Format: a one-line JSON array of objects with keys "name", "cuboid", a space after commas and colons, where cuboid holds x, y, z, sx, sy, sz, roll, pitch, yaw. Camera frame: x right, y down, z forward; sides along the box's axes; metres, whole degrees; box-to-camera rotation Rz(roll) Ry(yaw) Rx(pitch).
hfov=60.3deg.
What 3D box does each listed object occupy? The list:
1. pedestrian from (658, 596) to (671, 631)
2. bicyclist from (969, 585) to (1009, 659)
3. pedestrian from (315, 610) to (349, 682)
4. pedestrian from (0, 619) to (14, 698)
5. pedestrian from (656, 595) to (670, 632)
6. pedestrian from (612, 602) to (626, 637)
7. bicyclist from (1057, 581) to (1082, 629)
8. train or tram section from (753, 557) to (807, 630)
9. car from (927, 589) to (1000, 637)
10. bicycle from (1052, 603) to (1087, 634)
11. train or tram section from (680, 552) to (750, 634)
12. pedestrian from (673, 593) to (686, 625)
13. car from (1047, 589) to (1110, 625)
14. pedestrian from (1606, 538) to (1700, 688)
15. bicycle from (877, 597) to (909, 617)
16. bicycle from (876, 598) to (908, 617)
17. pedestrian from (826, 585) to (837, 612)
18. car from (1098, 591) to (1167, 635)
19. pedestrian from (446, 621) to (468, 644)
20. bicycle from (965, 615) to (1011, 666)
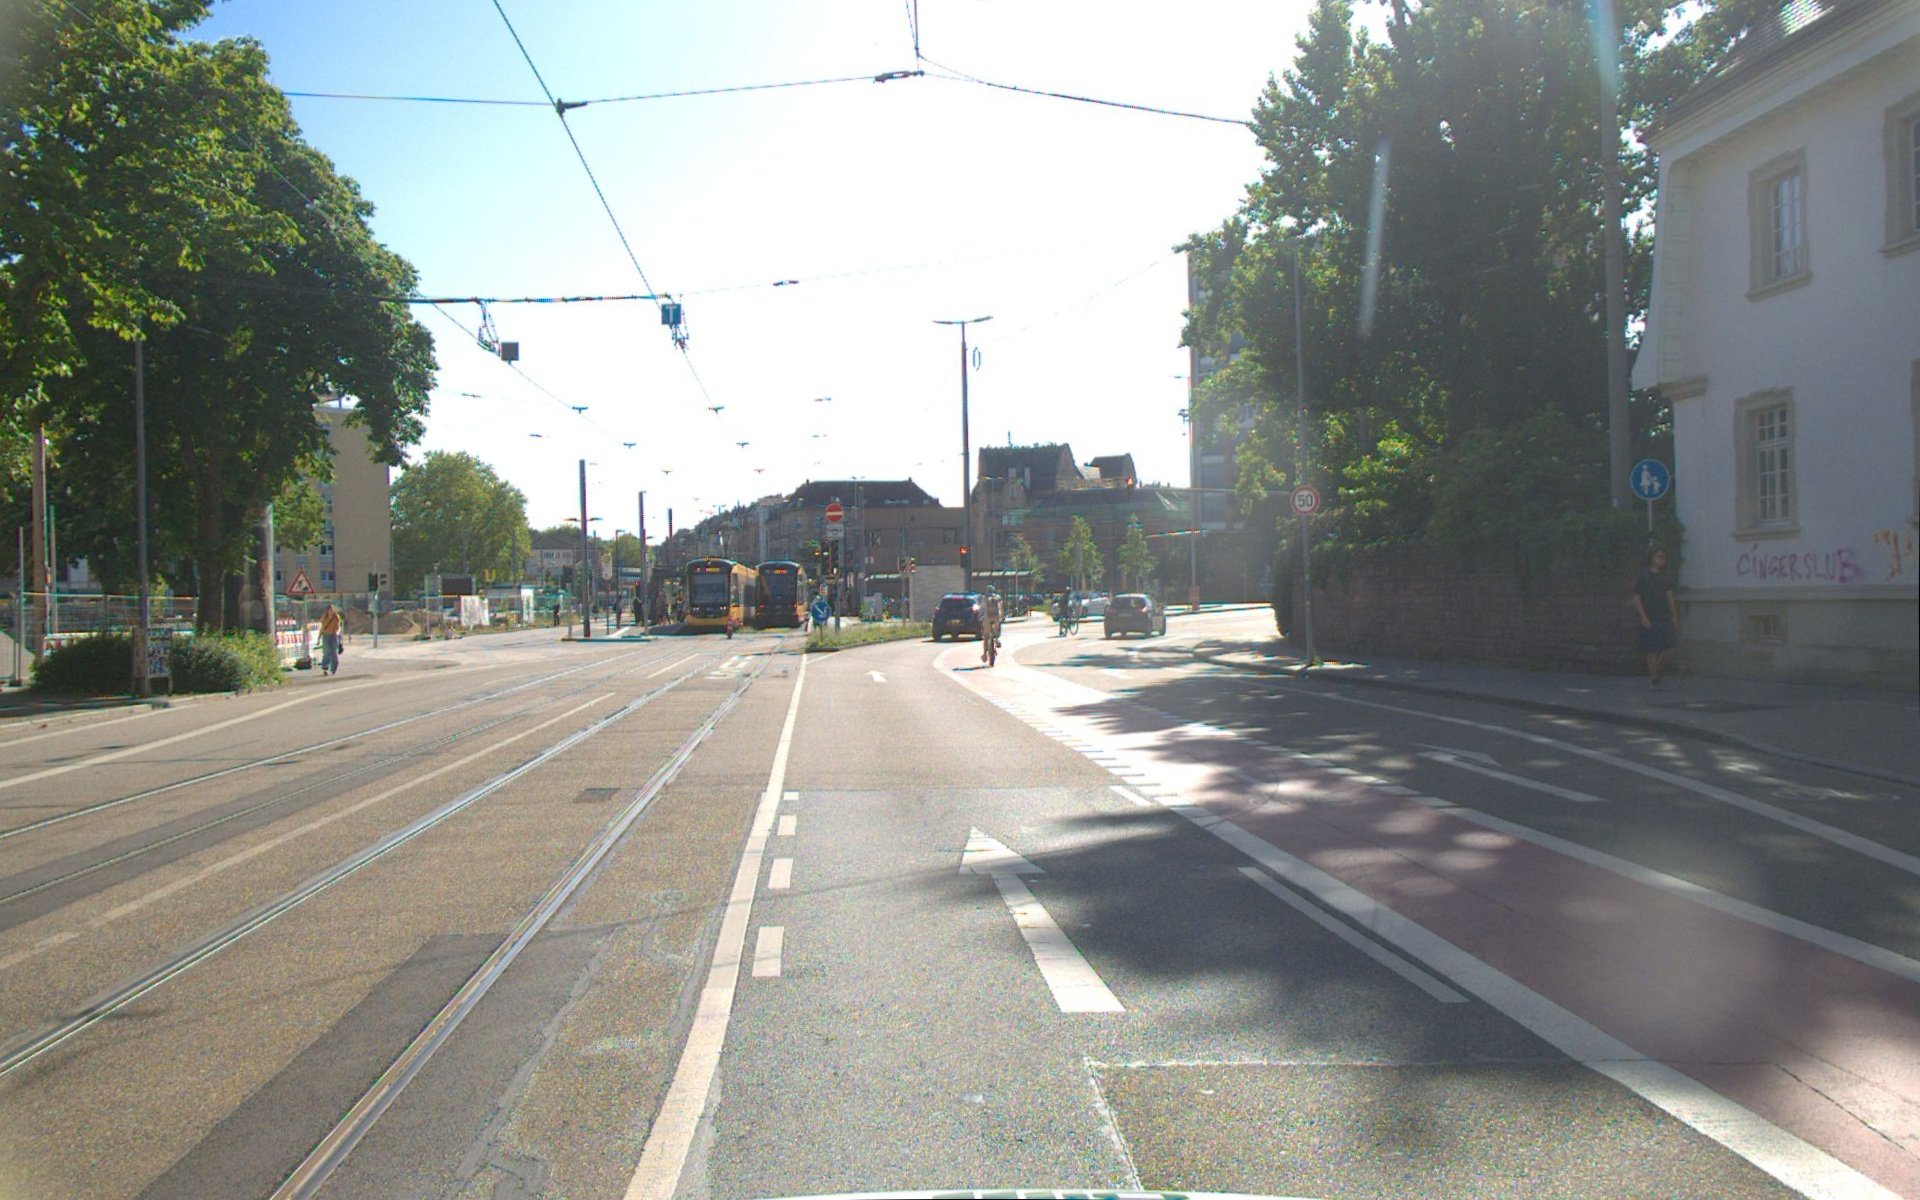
[{"name": "pedestrian", "cuboid": [-15.973, 0.744, 89.423, 0.614, 1.859, 0.661, -2, 0, -6]}, {"name": "bicyclist", "cuboid": [0.676, 0.497, 38.411, 0.690, 1.704, 1.102, 0, 0, 15]}, {"name": "pedestrian", "cuboid": [-15.616, 1.138, 41.128, 0.625, 1.726, 0.816, -3, 0, -15]}, {"name": "pedestrian", "cuboid": [-19.151, 1.160, 32.506, 0.910, 1.531, 0.699, -1, 0, -27]}, {"name": "pedestrian", "cuboid": [-15.118, 0.670, 84.257, 0.614, 1.859, 0.661, -2, 0, -6]}, {"name": "pedestrian", "cuboid": [-18.519, 1.038, 89.793, 0.614, 1.859, 0.661, -2, 0, -6]}, {"name": "bicyclist", "cuboid": [4.056, 0.174, 61.125, 0.690, 1.730, 0.987, 1, 1, 19]}, {"name": "train or tram section", "cuboid": [-9.958, -0.396, 92.261, 2.689, 3.715, 13.769, -1, 1, -6]}, {"name": "car", "cuboid": [0.158, 0.437, 58.150, 1.751, 1.632, 3.716, 0, 0, 14]}, {"name": "bicycle", "cuboid": [4.063, 0.687, 61.166, 0.690, 1.073, 2.314, 1, 1, 19]}, {"name": "train or tram section", "cuboid": [-12.270, -0.388, 83.819, 2.689, 3.715, 13.769, -1, 1, -6]}, {"name": "pedestrian", "cuboid": [-16.112, 0.515, 94.963, 0.614, 1.859, 0.661, -2, 0, -6]}, {"name": "car", "cuboid": [5.830, 0.333, 80.930, 1.669, 1.672, 3.706, 0, 0, 30]}, {"name": "pedestrian", "cuboid": [9.368, 0.173, 22.403, 0.625, 1.936, 1.134, -4, 0, -4]}, {"name": "bicycle", "cuboid": [-4.048, 0.436, 99.789, 1.897, 1.122, 0.598, -2, 0, -8]}, {"name": "bicycle", "cuboid": [-4.144, 0.440, 100.527, 1.897, 1.122, 0.598, -2, 0, -8]}, {"name": "pedestrian", "cuboid": [-9.596, -0.127, 123.275, 0.650, 1.987, 0.625, -1, 0, -17]}, {"name": "car", "cuboid": [6.279, 0.455, 59.883, 1.751, 1.537, 3.714, 0, 0, 18]}, {"name": "pedestrian", "cuboid": [-24.425, 1.592, 80.282, 0.880, 1.064, 0.655, -2, 0, -5]}, {"name": "bicycle", "cuboid": [0.664, 0.926, 38.363, 0.690, 1.124, 1.718, 0, 1, 14]}]
